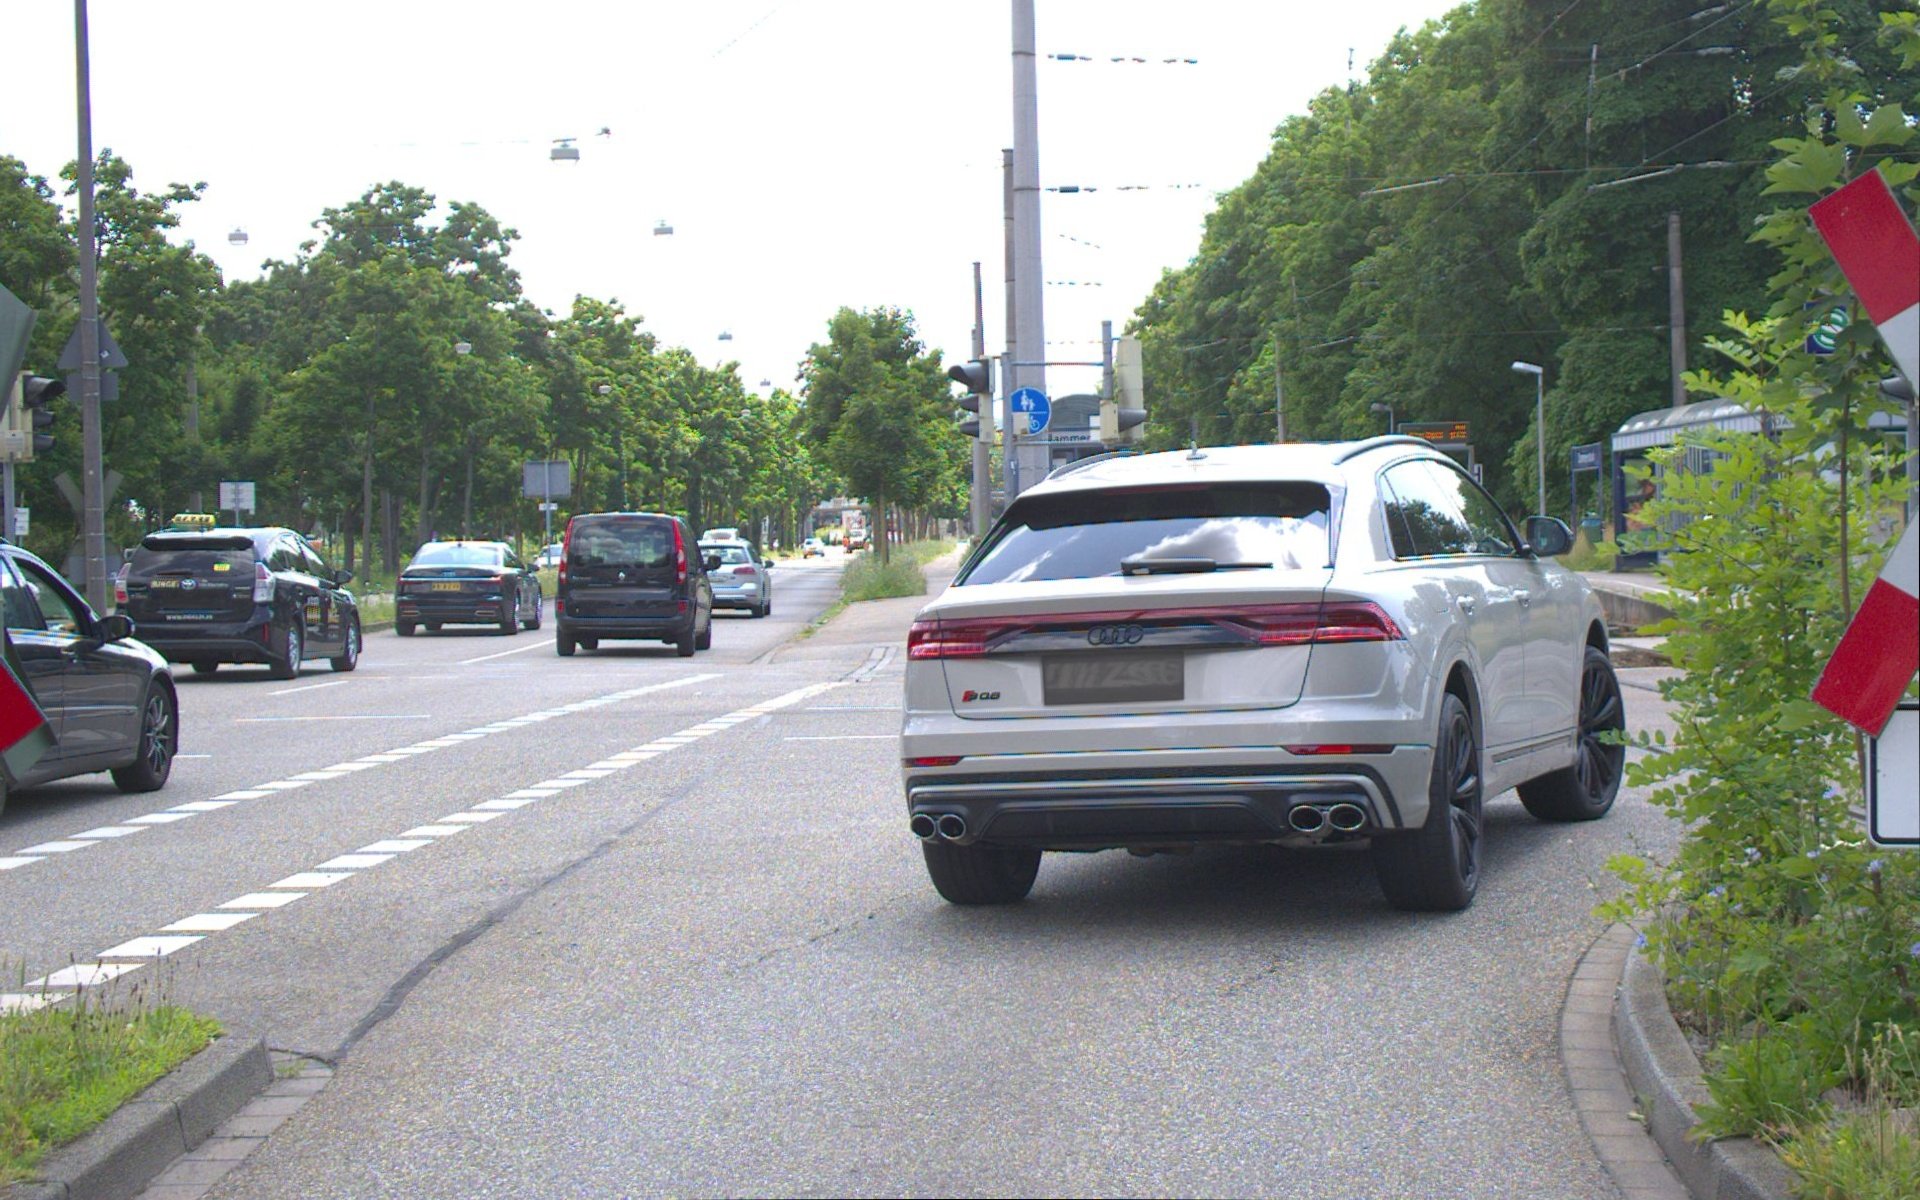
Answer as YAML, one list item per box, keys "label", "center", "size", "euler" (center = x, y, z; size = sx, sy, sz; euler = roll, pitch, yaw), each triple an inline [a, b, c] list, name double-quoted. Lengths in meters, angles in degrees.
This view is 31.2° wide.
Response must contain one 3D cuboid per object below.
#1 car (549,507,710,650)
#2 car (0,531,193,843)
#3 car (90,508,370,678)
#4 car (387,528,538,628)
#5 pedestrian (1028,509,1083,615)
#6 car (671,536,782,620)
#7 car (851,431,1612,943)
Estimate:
- label: "car"
  center: [-4.270, -0.300, 44.924]
  size: [1.759, 1.771, 3.909]
  euler: [0, 1, -1]
- label: "car"
  center: [-5.354, 0.407, 17.372]
  size: [1.755, 1.461, 4.433]
  euler: [-1, 1, 3]
- label: "car"
  center: [-7.538, -0.106, 35.923]
  size: [1.786, 1.662, 4.340]
  euler: [0, 1, 3]
- label: "car"
  center: [-7.736, -0.365, 53.733]
  size: [1.864, 1.499, 4.000]
  euler: [0, 1, -1]
- label: "pedestrian"
  center: [1.383, -0.557, 49.771]
  size: [0.653, 1.508, 0.718]
  euler: [-2, 1, -8]
- label: "car"
  center: [-4.356, -0.429, 64.627]
  size: [1.785, 1.520, 4.301]
  euler: [0, 1, 0]
- label: "car"
  center: [1.293, 0.239, 13.744]
  size: [1.983, 1.678, 4.570]
  euler: [-1, 1, 18]
